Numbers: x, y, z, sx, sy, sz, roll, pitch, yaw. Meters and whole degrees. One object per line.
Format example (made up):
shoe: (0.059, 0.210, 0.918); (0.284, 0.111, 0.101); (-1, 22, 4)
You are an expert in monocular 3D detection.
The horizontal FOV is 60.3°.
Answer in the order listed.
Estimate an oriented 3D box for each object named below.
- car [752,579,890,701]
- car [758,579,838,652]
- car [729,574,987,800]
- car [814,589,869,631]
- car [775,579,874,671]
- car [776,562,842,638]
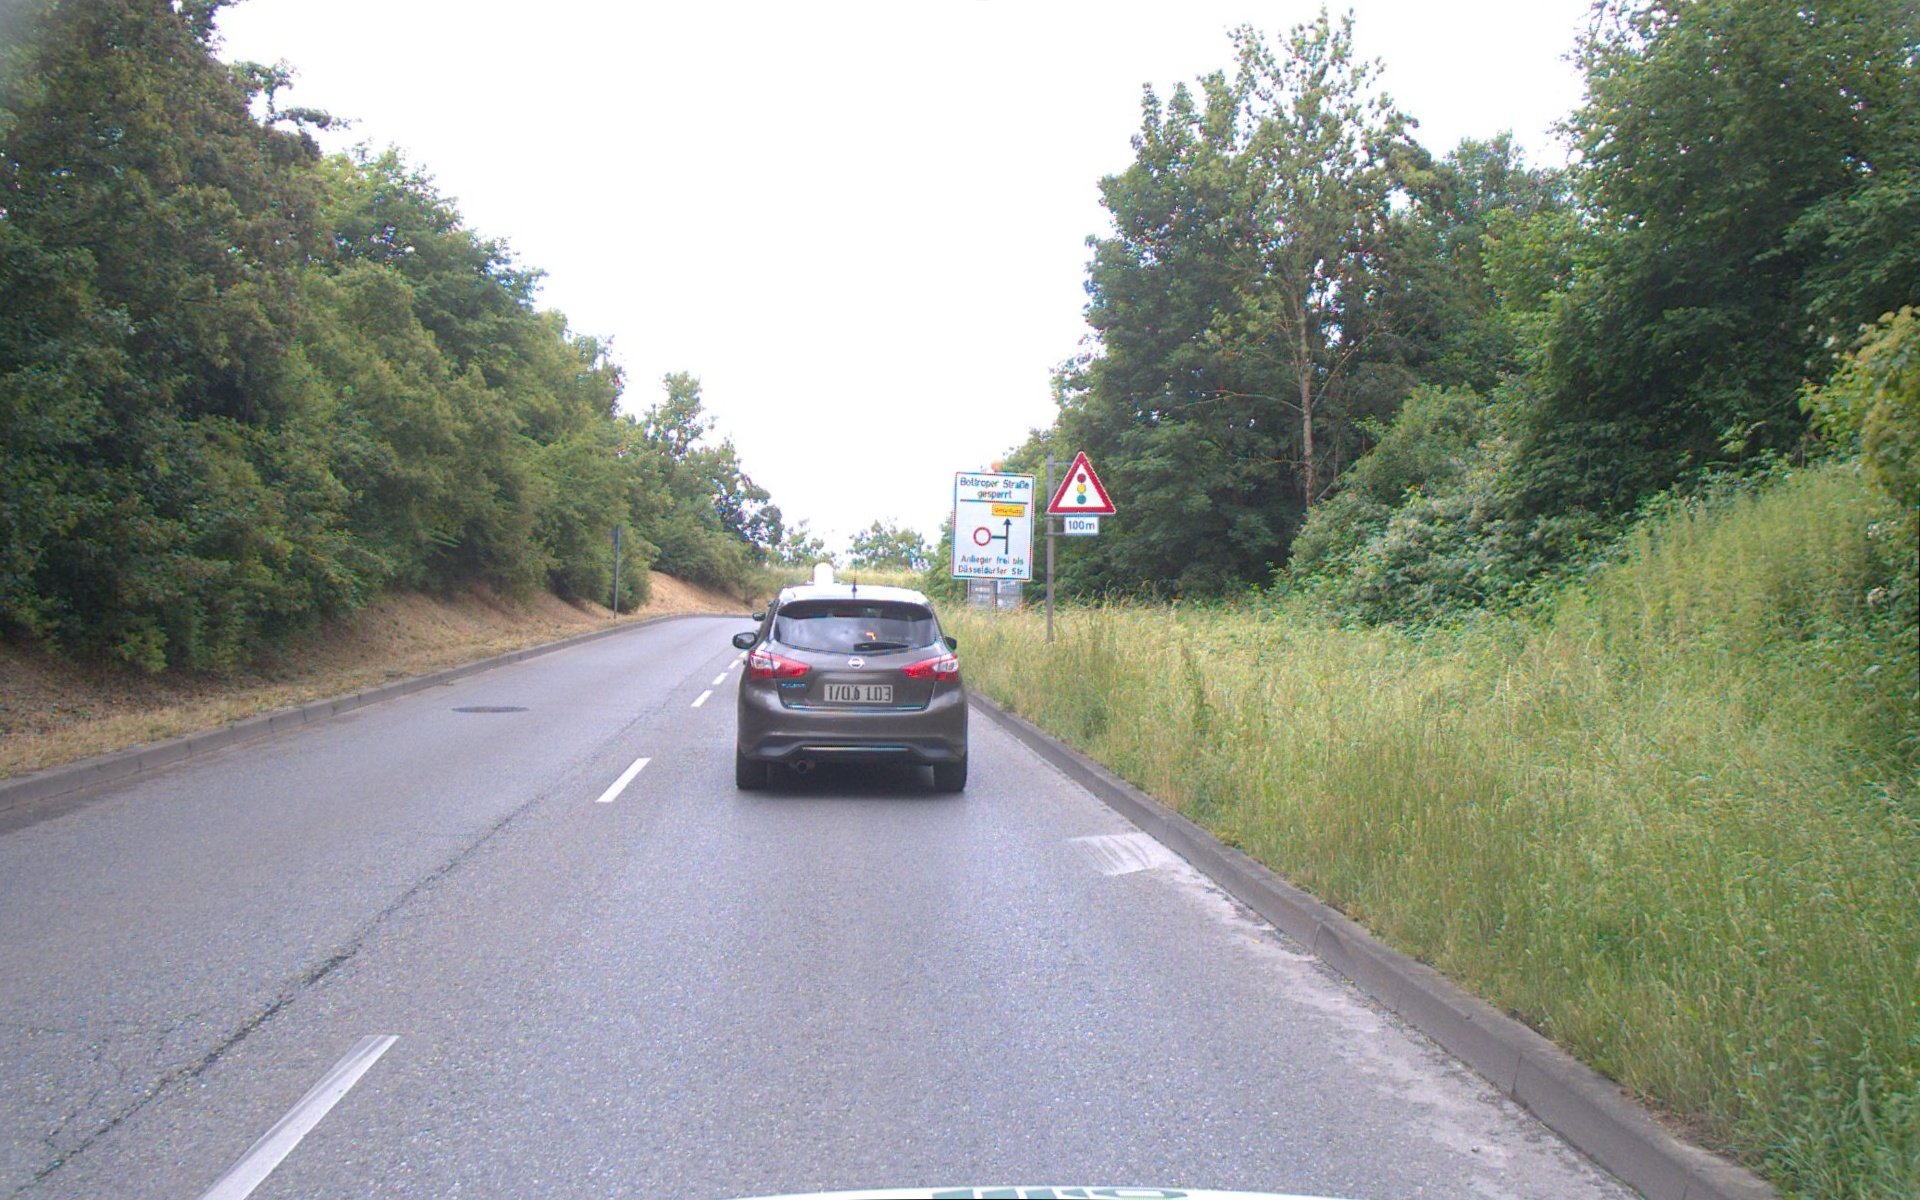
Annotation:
car: (-1.947, 0.507, 23.402); (1.794, 1.583, 3.621); (0, 0, -4)
car: (-3.630, 0.317, 37.498); (1.702, 1.583, 3.540); (0, 0, -4)
car: (-0.862, 0.607, 13.435); (1.794, 1.583, 3.496); (1, 0, -5)
car: (-4.578, 0.358, 64.223); (1.700, 1.553, 3.643); (0, 0, 3)
car: (-2.460, 0.412, 30.291); (1.702, 1.583, 3.540); (0, 0, -4)
car: (-4.048, -0.011, 44.738); (1.702, 1.968, 3.540); (0, 0, -4)
